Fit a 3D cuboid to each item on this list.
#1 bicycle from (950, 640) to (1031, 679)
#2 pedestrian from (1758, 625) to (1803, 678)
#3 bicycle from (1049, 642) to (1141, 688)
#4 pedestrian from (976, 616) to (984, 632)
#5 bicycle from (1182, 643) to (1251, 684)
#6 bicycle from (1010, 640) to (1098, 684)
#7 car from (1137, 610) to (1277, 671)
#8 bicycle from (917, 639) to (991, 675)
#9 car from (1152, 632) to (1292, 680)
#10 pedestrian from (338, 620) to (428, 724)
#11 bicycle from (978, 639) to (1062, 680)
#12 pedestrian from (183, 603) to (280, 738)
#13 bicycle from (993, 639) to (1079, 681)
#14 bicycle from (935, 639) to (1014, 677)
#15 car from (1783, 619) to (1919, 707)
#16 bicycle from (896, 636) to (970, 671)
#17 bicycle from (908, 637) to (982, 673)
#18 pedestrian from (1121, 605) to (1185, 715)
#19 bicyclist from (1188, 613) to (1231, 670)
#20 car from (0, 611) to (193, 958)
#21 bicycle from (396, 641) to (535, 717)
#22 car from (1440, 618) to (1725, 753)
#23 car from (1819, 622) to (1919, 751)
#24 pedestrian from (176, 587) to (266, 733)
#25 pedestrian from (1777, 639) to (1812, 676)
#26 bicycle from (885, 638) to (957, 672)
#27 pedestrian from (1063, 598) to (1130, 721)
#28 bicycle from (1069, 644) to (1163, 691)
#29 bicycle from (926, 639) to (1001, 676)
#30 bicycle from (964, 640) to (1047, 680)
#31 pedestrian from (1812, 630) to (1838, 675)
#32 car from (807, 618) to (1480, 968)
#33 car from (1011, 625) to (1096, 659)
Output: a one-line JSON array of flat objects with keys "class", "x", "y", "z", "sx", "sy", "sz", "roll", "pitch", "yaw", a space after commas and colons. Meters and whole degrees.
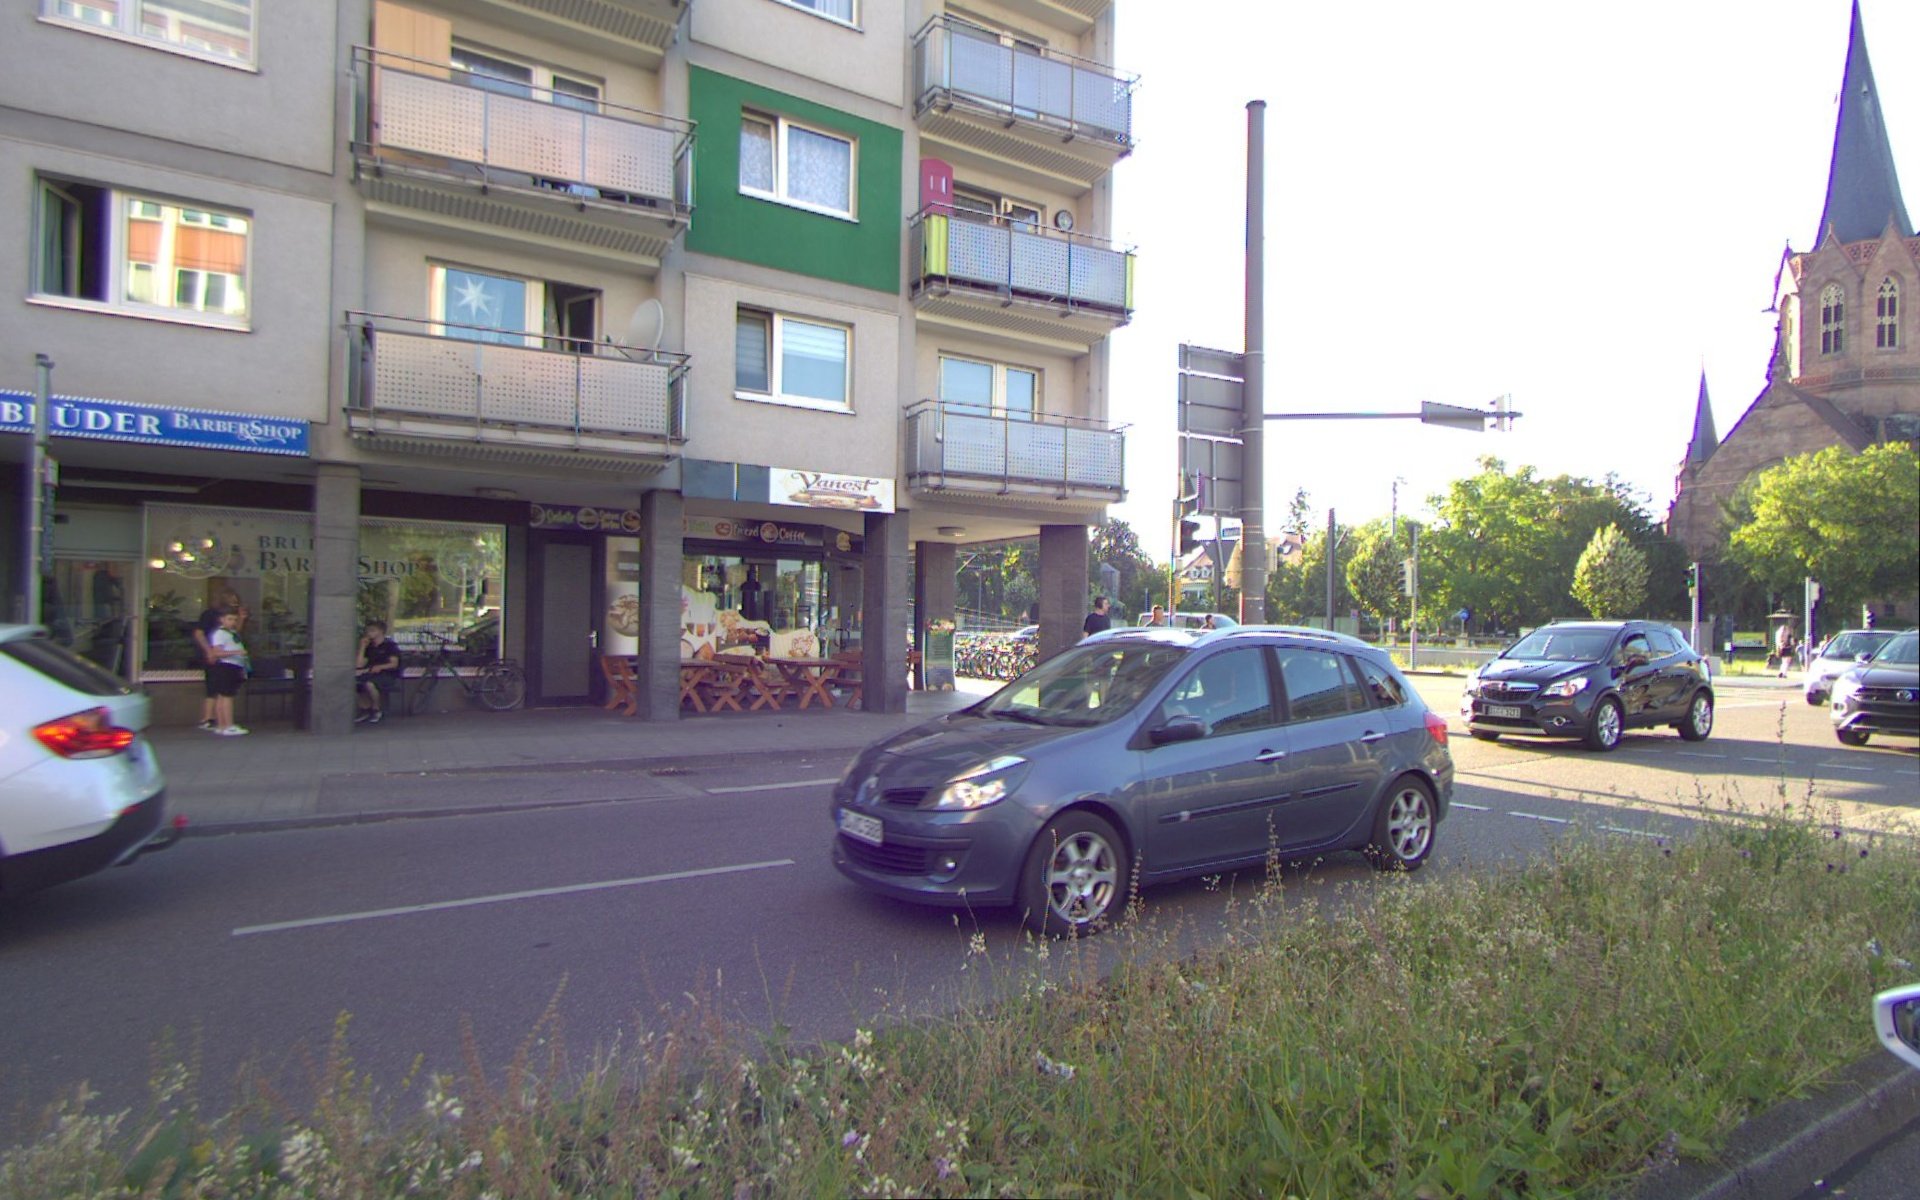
[{"class": "bicycle", "x": 0.882, "y": 1.694, "z": 28.788, "sx": 2.273, "sy": 1.065, "sz": 0.731, "roll": 2, "pitch": -2, "yaw": -31}, {"class": "pedestrian", "x": 27.619, "y": 1.730, "z": 33.828, "sx": 0.803, "sy": 1.762, "sz": 0.960, "roll": 2, "pitch": -1, "yaw": -32}, {"class": "bicycle", "x": 3.309, "y": 1.588, "z": 24.569, "sx": 2.273, "sy": 1.065, "sz": 0.731, "roll": 2, "pitch": -2, "yaw": -31}, {"class": "pedestrian", "x": 2.369, "y": 2.866, "z": 118.688, "sx": 0.677, "sy": 1.847, "sz": 0.531, "roll": 2, "pitch": -1, "yaw": -27}, {"class": "bicycle", "x": 7.276, "y": 1.795, "z": 28.596, "sx": 0.940, "sy": 1.112, "sz": 1.769, "roll": 1, "pitch": -2, "yaw": -30}, {"class": "bicycle", "x": 2.448, "y": 1.591, "z": 25.918, "sx": 2.273, "sy": 1.065, "sz": 0.731, "roll": 2, "pitch": -2, "yaw": -31}, {"class": "car", "x": 8.787, "y": 1.420, "z": 36.139, "sx": 1.978, "sy": 2.040, "sz": 4.896, "roll": 2, "pitch": -2, "yaw": -32}, {"class": "bicycle", "x": -0.177, "y": 1.737, "z": 30.562, "sx": 2.273, "sy": 1.065, "sz": 0.558, "roll": 2, "pitch": -2, "yaw": -31}, {"class": "car", "x": 8.048, "y": 1.693, "z": 31.212, "sx": 1.781, "sy": 1.330, "sz": 4.165, "roll": 2, "pitch": -2, "yaw": -32}, {"class": "pedestrian", "x": -7.667, "y": 0.935, "z": 13.366, "sx": 0.613, "sy": 1.331, "sz": 0.811, "roll": 0, "pitch": -1, "yaw": 16}, {"class": "bicycle", "x": 1.648, "y": 1.610, "z": 27.418, "sx": 2.273, "sy": 1.065, "sz": 0.731, "roll": 2, "pitch": -2, "yaw": -31}, {"class": "pedestrian", "x": -8.351, "y": 0.785, "z": 11.532, "sx": 0.613, "sy": 1.486, "sz": 0.658, "roll": 0, "pitch": -1, "yaw": 24}, {"class": "bicycle", "x": 2.034, "y": 1.600, "z": 26.728, "sx": 2.273, "sy": 1.065, "sz": 0.731, "roll": 2, "pitch": -2, "yaw": -31}, {"class": "bicycle", "x": 0.444, "y": 1.709, "z": 29.468, "sx": 2.273, "sy": 1.065, "sz": 0.731, "roll": 2, "pitch": -2, "yaw": -31}, {"class": "car", "x": 17.798, "y": 1.212, "z": 19.884, "sx": 2.778, "sy": 1.614, "sz": 1.527, "roll": 1, "pitch": -3, "yaw": -33}, {"class": "bicycle", "x": -0.839, "y": 1.700, "z": 31.757, "sx": 2.273, "sy": 1.065, "sz": 0.731, "roll": 2, "pitch": -2, "yaw": -31}, {"class": "bicycle", "x": -0.454, "y": 1.702, "z": 31.071, "sx": 2.273, "sy": 1.065, "sz": 0.642, "roll": 2, "pitch": -2, "yaw": -31}, {"class": "pedestrian", "x": 3.293, "y": 1.012, "z": 17.161, "sx": 0.802, "sy": 1.811, "sz": 0.606, "roll": 1, "pitch": 2, "yaw": -27}, {"class": "bicyclist", "x": 7.162, "y": 1.179, "z": 28.803, "sx": 0.952, "sy": 1.619, "sz": 0.732, "roll": 1, "pitch": -2, "yaw": -30}, {"class": "car", "x": -5.933, "y": 0.799, "z": 4.211, "sx": 4.206, "sy": 1.508, "sz": 1.741, "roll": 1, "pitch": -2, "yaw": -35}, {"class": "bicycle", "x": -7.075, "y": 1.112, "z": 14.420, "sx": 1.684, "sy": 1.012, "sz": 0.619, "roll": 2, "pitch": -2, "yaw": -40}, {"class": "car", "x": 8.734, "y": 1.106, "z": 14.027, "sx": 4.055, "sy": 1.650, "sz": 1.711, "roll": 1, "pitch": -2, "yaw": -31}, {"class": "car", "x": 13.318, "y": 1.087, "z": 13.321, "sx": 4.054, "sy": 1.565, "sz": 1.668, "roll": 1, "pitch": -2, "yaw": -30}, {"class": "pedestrian", "x": -8.942, "y": 0.709, "z": 12.158, "sx": 0.614, "sy": 1.694, "sz": 0.657, "roll": 0, "pitch": -1, "yaw": 31}, {"class": "pedestrian", "x": 40.930, "y": 2.805, "z": 49.286, "sx": 0.828, "sy": 1.719, "sz": 1.017, "roll": 2, "pitch": 0, "yaw": 0}, {"class": "bicycle", "x": -1.245, "y": 1.781, "z": 32.444, "sx": 2.273, "sy": 1.065, "sz": 0.731, "roll": 2, "pitch": -2, "yaw": -31}, {"class": "pedestrian", "x": 2.183, "y": 0.933, "z": 16.049, "sx": 0.802, "sy": 1.900, "sz": 0.605, "roll": 1, "pitch": 2, "yaw": -30}, {"class": "bicycle", "x": 3.733, "y": 1.582, "z": 23.886, "sx": 2.273, "sy": 1.065, "sz": 0.731, "roll": 2, "pitch": -1, "yaw": -31}, {"class": "bicycle", "x": 0.118, "y": 1.711, "z": 30.053, "sx": 2.273, "sy": 1.065, "sz": 0.558, "roll": 2, "pitch": -2, "yaw": -31}, {"class": "bicycle", "x": 1.283, "y": 1.668, "z": 28.096, "sx": 2.273, "sy": 1.065, "sz": 0.731, "roll": 2, "pitch": -2, "yaw": -31}, {"class": "pedestrian", "x": 33.695, "y": 2.031, "z": 39.106, "sx": 0.700, "sy": 1.719, "sz": 0.891, "roll": 2, "pitch": 0, "yaw": 43}, {"class": "car", "x": 1.219, "y": 0.877, "z": 6.015, "sx": 3.941, "sy": 1.490, "sz": 1.584, "roll": 1, "pitch": -2, "yaw": -32}, {"class": "car", "x": 4.107, "y": 1.830, "z": 44.514, "sx": 1.781, "sy": 1.392, "sz": 3.880, "roll": 2, "pitch": -2, "yaw": -32}]
